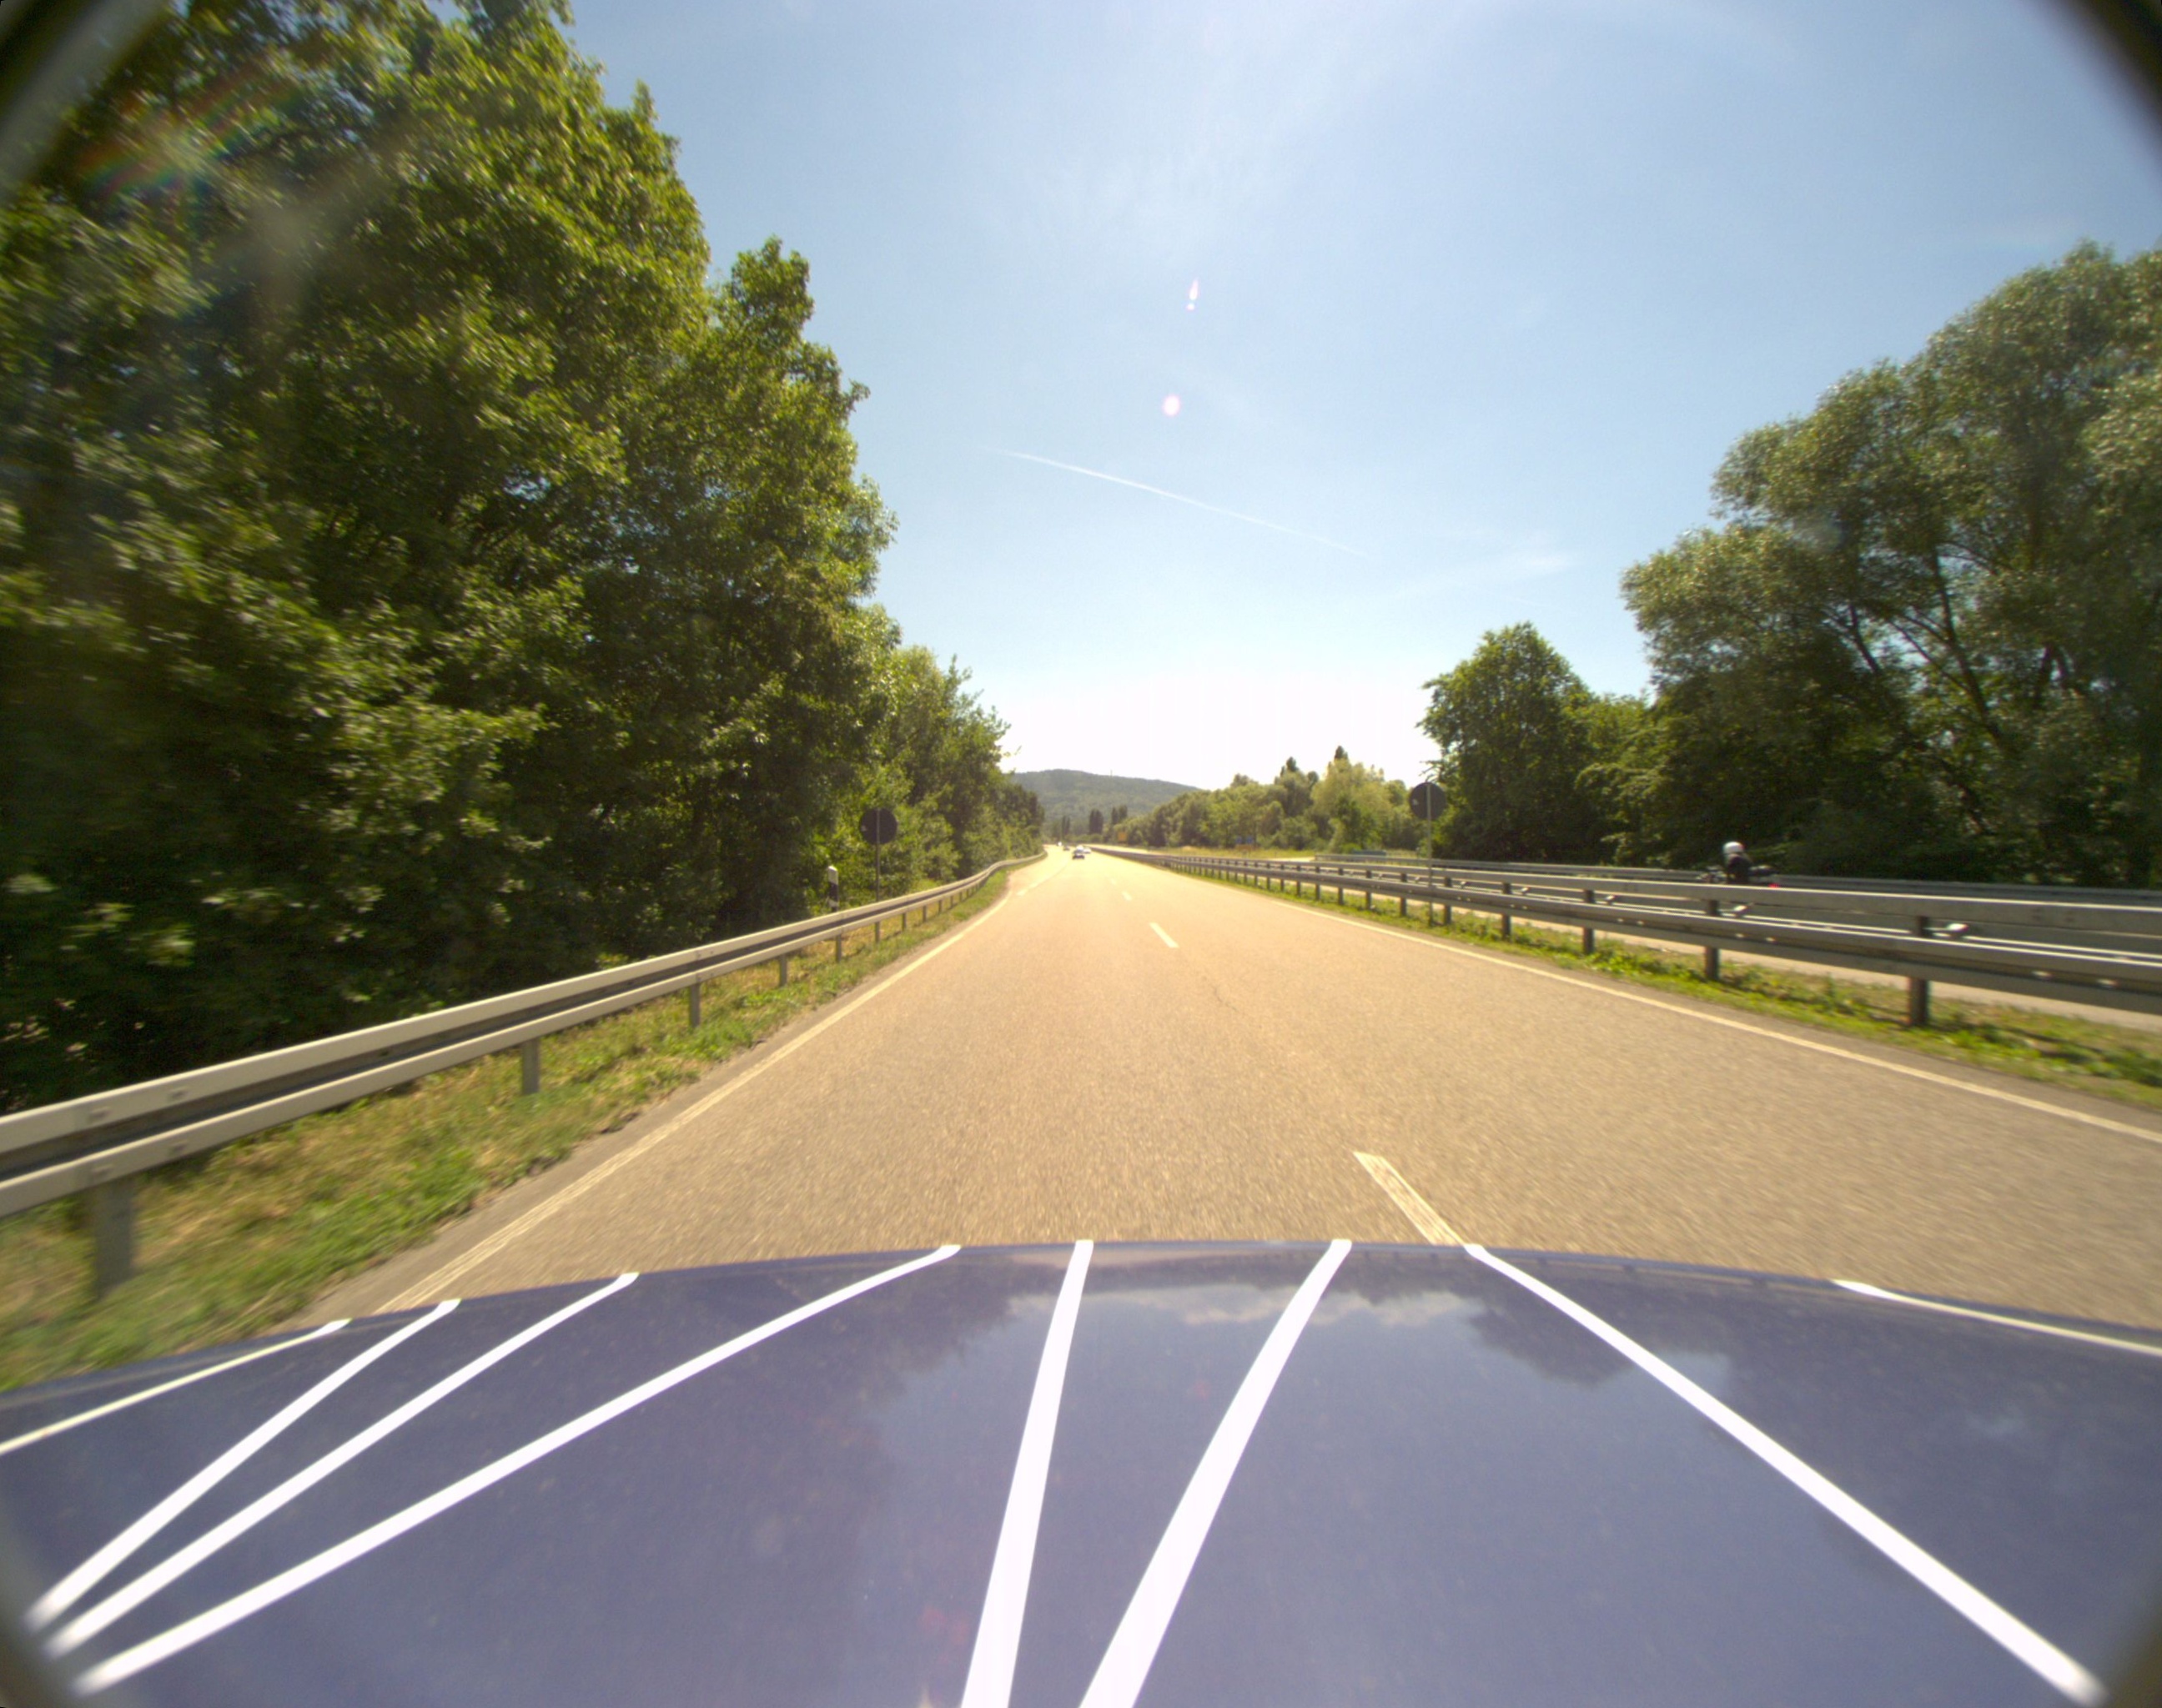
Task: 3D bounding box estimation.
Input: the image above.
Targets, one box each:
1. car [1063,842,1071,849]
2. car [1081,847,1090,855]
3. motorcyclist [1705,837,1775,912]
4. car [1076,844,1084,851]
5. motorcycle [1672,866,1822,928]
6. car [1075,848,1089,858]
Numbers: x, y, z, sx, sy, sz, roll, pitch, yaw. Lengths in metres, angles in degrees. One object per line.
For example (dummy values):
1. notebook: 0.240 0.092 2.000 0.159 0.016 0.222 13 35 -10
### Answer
1. car: -3.998 -2.481 220.186 1.908 1.686 3.891 -1 1 3
2. car: 1.080 -0.667 172.011 1.908 1.686 3.891 -1 1 3
3. motorcyclist: 13.372 0.398 15.437 0.720 1.473 0.809 -1 1 1
4. car: -0.268 -1.878 215.842 1.908 1.686 3.891 -1 1 3
5. motorcycle: 13.375 0.819 15.399 0.728 1.058 2.666 -1 1 1
6. car: 0.194 -0.178 118.769 1.908 1.368 3.891 -1 1 3
